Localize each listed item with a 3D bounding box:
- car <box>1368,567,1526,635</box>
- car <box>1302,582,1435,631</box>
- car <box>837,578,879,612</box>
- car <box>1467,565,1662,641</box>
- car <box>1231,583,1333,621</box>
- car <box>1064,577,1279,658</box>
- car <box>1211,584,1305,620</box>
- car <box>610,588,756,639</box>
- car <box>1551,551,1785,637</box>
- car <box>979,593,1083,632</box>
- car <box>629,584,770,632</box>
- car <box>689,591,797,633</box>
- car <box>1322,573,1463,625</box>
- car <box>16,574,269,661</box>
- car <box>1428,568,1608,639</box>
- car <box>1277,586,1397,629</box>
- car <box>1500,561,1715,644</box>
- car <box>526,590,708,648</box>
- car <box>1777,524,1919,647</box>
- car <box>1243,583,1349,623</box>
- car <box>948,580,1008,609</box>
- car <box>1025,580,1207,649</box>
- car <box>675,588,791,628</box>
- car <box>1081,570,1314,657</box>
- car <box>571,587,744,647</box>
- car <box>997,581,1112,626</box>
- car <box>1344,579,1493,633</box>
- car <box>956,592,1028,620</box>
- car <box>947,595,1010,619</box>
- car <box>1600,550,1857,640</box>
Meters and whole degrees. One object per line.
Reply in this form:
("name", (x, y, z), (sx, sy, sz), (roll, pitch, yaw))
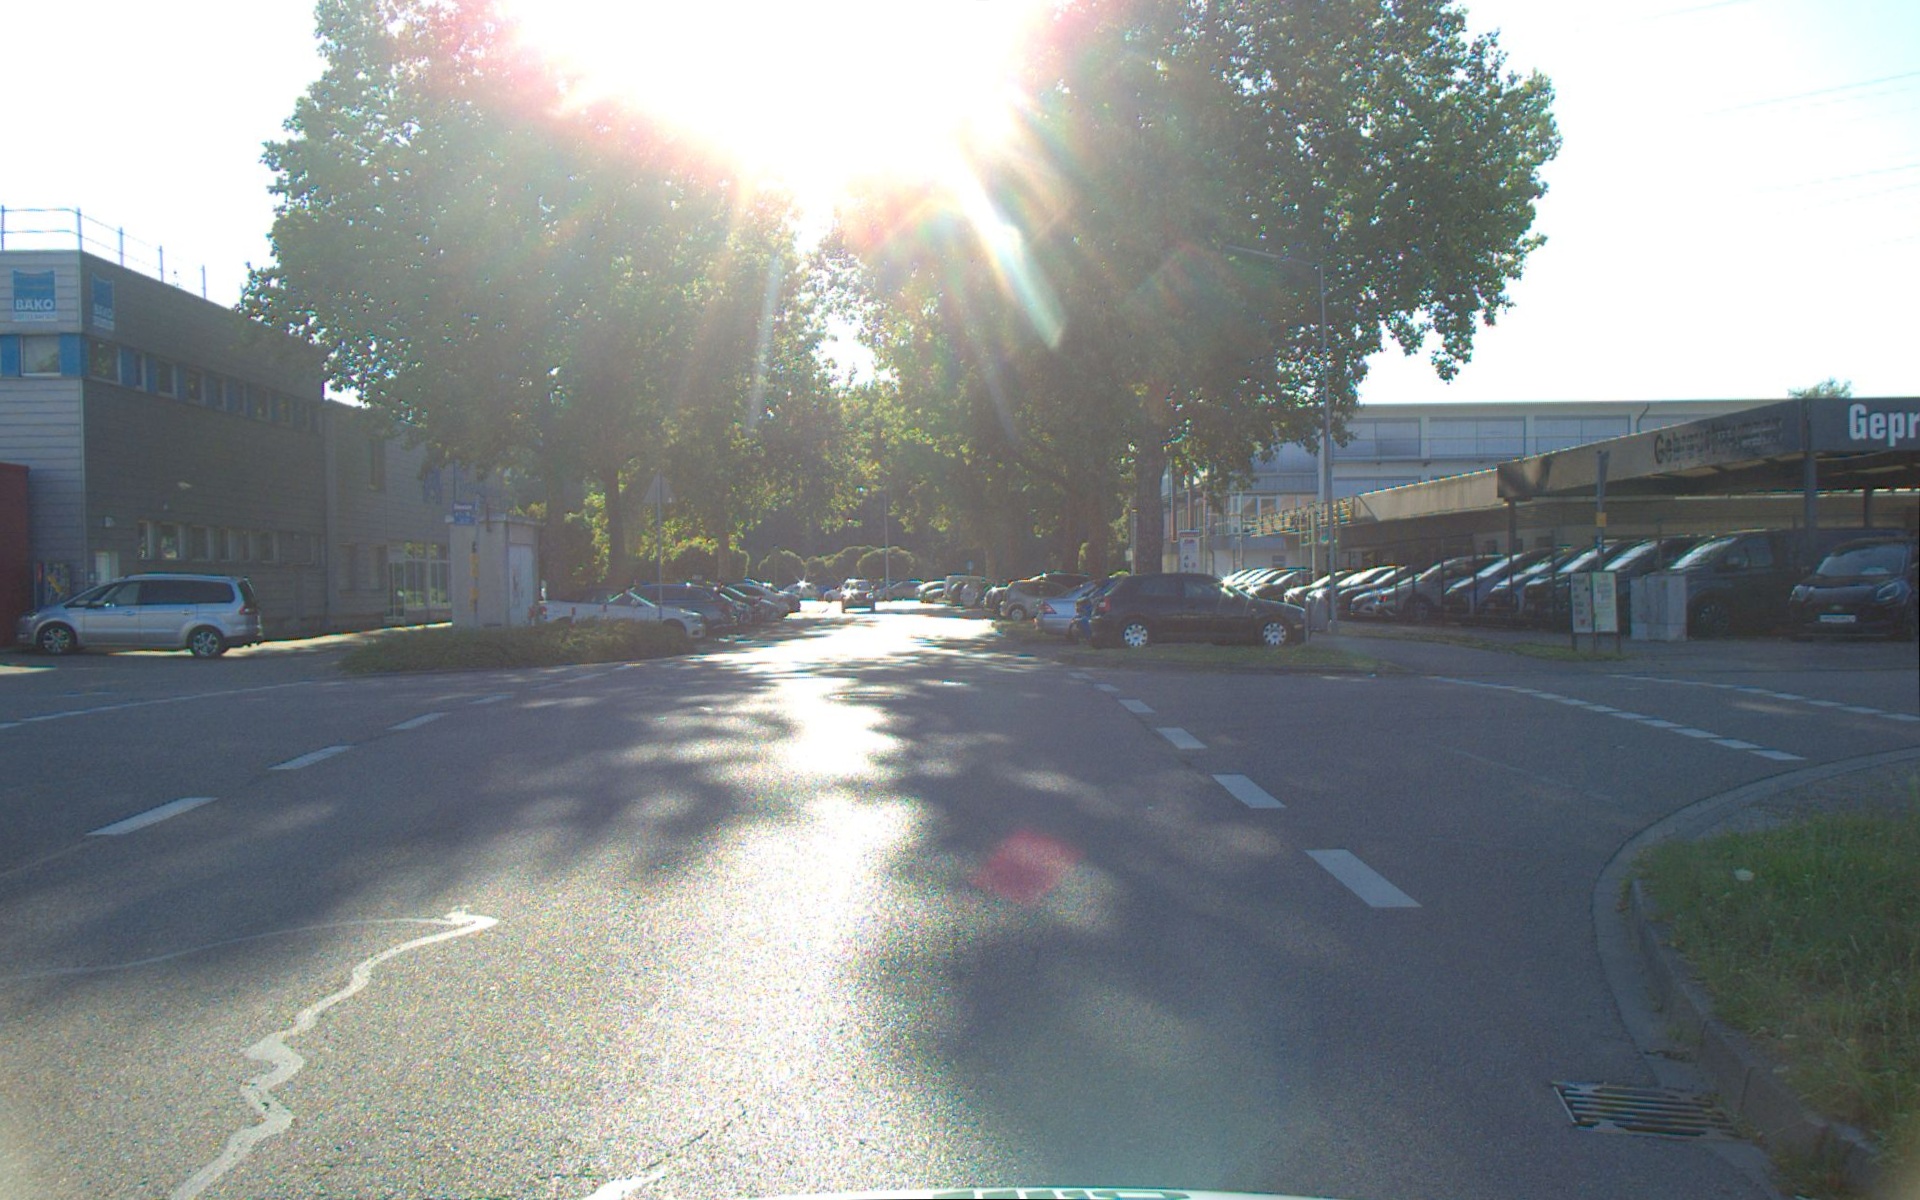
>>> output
("car", (13.900, 0.031, 47.368), (3.907, 1.864, 1.999), (0, 0, -3))
("car", (13.573, 0.206, 55.076), (3.907, 1.573, 1.999), (0, 0, -3))
("car", (-5.215, -0.244, 84.997), (1.953, 1.637, 3.999), (1, 0, -1))
("car", (14.322, 0.076, 39.340), (3.907, 1.730, 1.999), (0, 0, -3))
("car", (13.703, 0.089, 70.512), (3.907, 1.573, 1.999), (0, 0, -3))
("car", (4.085, 0.336, 32.471), (3.906, 1.440, 1.999), (-1, 0, -2))
("car", (13.565, 0.103, 75.384), (3.907, 1.573, 1.999), (0, 0, -3))
("car", (-8.603, 0.418, 51.663), (4.329, 1.543, 1.998), (0, 0, -5))
("car", (14.282, -0.117, 33.517), (3.907, 1.663, 1.999), (0, 0, -3))
("car", (2.720, 0.466, 64.348), (3.906, 1.405, 1.826), (-1, 0, -2))
("car", (-8.586, 0.268, 54.798), (4.325, 1.543, 2.000), (0, 0, 0))
("car", (-9.272, 0.512, 70.991), (4.325, 1.727, 2.000), (0, 0, 0))
("car", (13.651, -0.031, 52.350), (3.907, 1.573, 1.999), (0, 0, -3))
("car", (-17.350, 0.368, 35.370), (4.556, 1.771, 1.990), (0, 0, -18))
("car", (14.161, 0.084, 42.120), (3.907, 1.730, 1.999), (0, 0, -3))
("car", (13.756, 0.276, 60.554), (3.907, 1.530, 1.999), (0, 0, -3))
("car", (14.060, 0.065, 36.083), (3.907, 1.730, 1.999), (0, 0, -3))
("car", (-8.651, 0.482, 42.051), (4.331, 1.427, 1.997), (0, 0, -7))
("car", (14.943, -0.162, 26.961), (1.905, 1.801, 3.976), (-3, -3, 42))
("car", (13.780, 0.124, 67.948), (3.907, 1.573, 1.999), (0, 0, -3))
("car", (1.176, -0.356, 108.963), (3.906, 1.808, 1.826), (-1, 0, -2))
("car", (3.496, 0.328, 37.508), (3.906, 1.440, 1.826), (-1, 0, -2))
("car", (-8.995, 0.313, 65.859), (4.325, 1.543, 2.000), (0, 0, 0))
("car", (4.270, 0.236, 30.188), (3.906, 1.440, 1.999), (-1, 0, -2))
("car", (-8.099, 0.444, 44.536), (4.327, 1.543, 1.999), (0, 0, -3))
("car", (3.302, 0.124, 58.388), (3.906, 1.440, 1.826), (-1, 0, -2))
("car", (13.794, 0.183, 49.918), (3.907, 1.573, 1.999), (0, 0, -3))
("car", (1.780, 0.338, 92.944), (3.906, 1.440, 1.826), (-1, 0, -2))
("car", (1.167, 0.461, 105.676), (3.906, 1.440, 1.826), (-1, 0, -2))
("car", (14.322, -0.088, 30.971), (3.907, 1.596, 1.999), (0, 0, -3))
